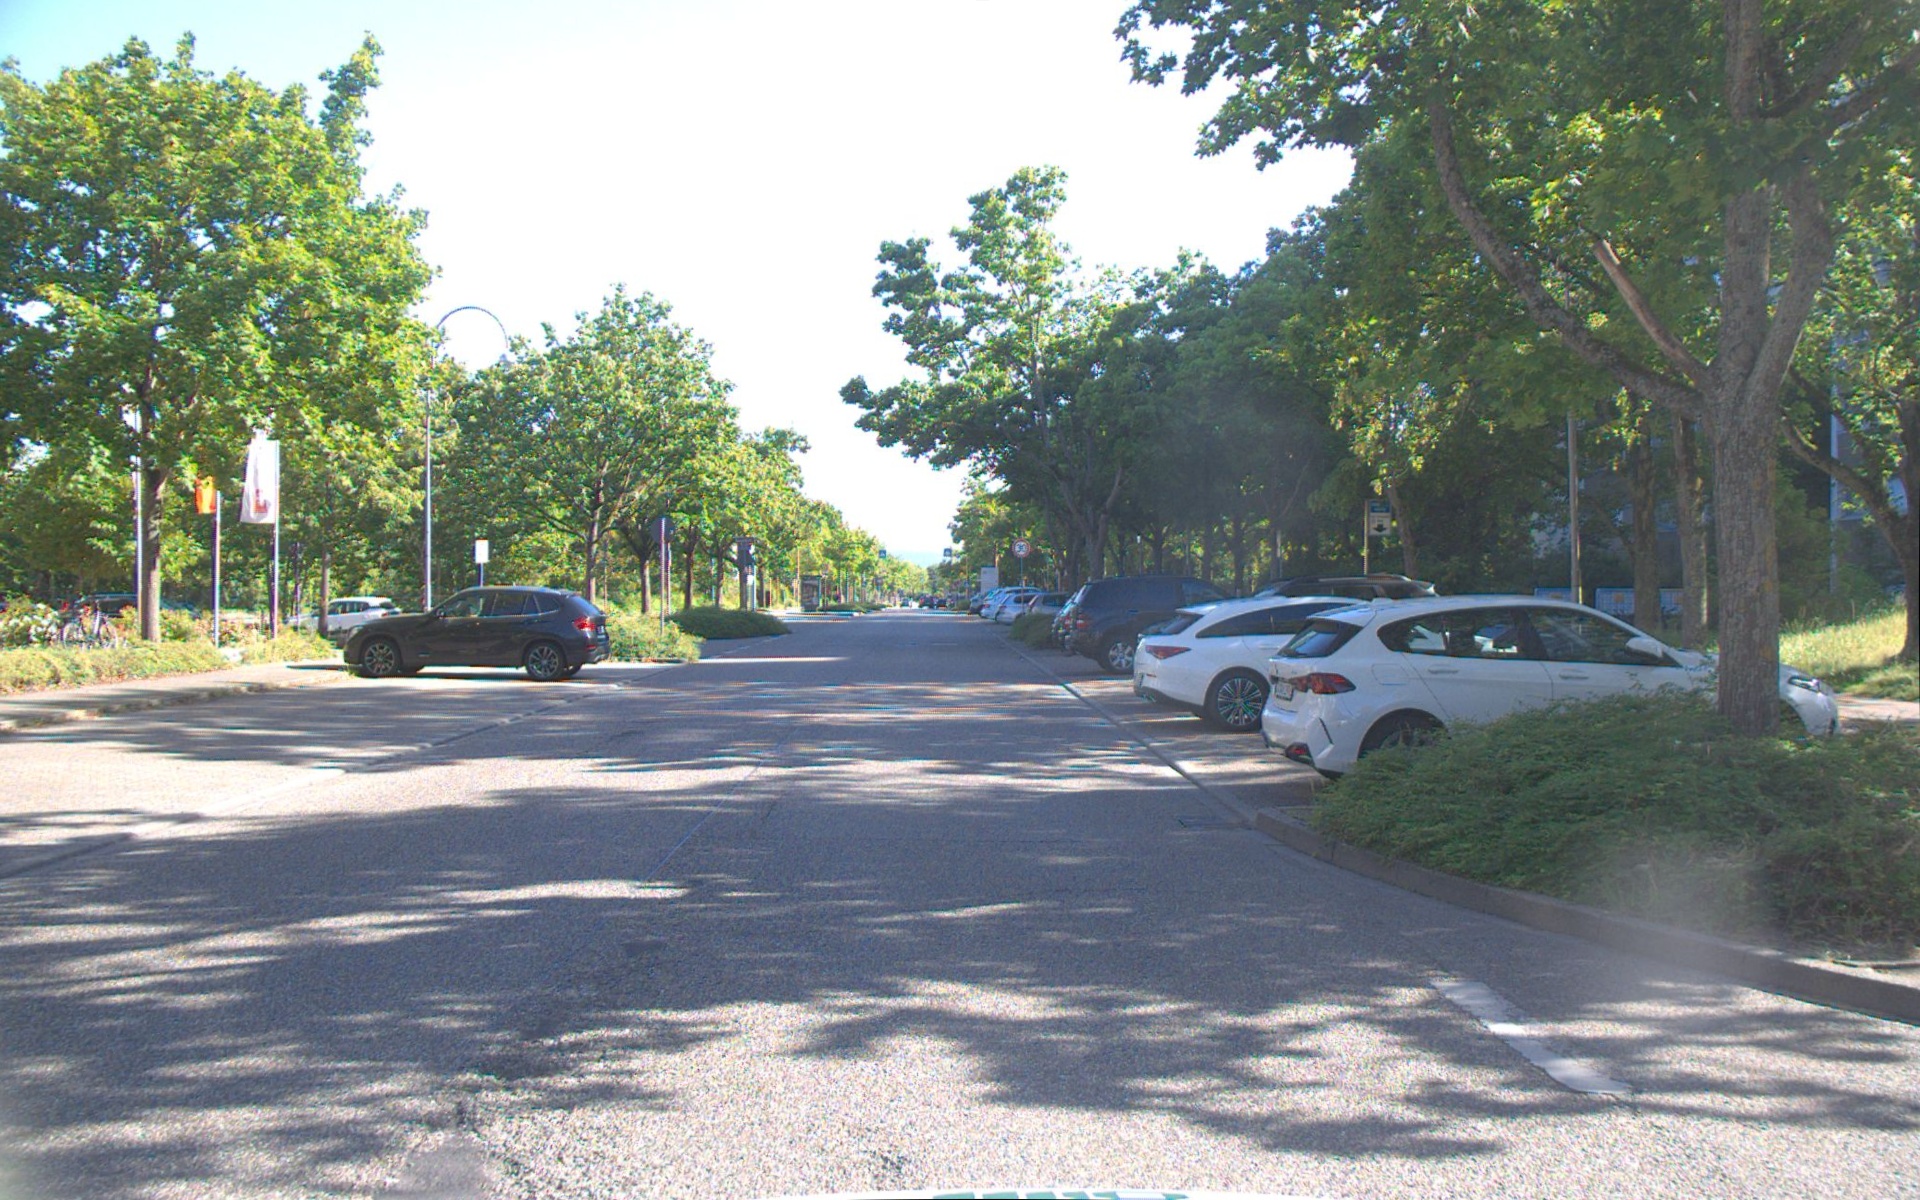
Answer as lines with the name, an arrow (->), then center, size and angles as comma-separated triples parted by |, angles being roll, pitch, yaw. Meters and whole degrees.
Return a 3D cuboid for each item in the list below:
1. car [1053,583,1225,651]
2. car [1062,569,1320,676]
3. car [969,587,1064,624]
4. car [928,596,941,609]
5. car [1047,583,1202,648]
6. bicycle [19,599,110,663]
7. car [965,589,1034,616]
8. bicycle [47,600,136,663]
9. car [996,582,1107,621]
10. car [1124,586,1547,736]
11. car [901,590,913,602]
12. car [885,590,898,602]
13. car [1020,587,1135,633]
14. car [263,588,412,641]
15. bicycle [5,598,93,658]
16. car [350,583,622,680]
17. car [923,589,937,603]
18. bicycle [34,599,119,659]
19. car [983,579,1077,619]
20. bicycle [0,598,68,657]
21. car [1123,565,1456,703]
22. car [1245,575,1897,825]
car -> 4.304, 0.393, 40.158 | 3.906, 1.411, 1.822 | -3, 0, -1
car -> 4.248, 0.396, 30.971 | 4.494, 1.810, 2.000 | -2, 0, -1
car -> 2.602, 0.265, 77.260 | 4.256, 1.515, 1.737 | -2, 0, -3
car -> -3.926, 0.355, 254.411 | 1.953, 2.049, 3.999 | 1, 0, -1
car -> 4.244, 0.390, 42.939 | 3.734, 1.525, 1.700 | -2, 0, -4
bicycle -> -15.787, 0.527, 29.213 | 0.428, 1.066, 2.193 | 1, 0, -1
car -> 2.400, 0.172, 101.624 | 4.080, 1.453, 1.999 | -3, 0, -1
bicycle -> -15.314, 0.532, 29.231 | 0.428, 1.066, 2.193 | 1, 0, -1
car -> 3.512, 0.055, 63.477 | 4.185, 1.453, 1.828 | 0, 0, 3
car -> 4.180, 0.665, 18.833 | 4.354, 1.572, 1.816 | 1, 0, -4
car -> -8.297, -0.562, 257.278 | 1.791, 1.806, 3.739 | 1, 0, -1
car -> -10.626, -0.658, 256.701 | 1.953, 1.833, 3.999 | 1, 0, -1
car -> 4.134, 0.355, 58.586 | 3.906, 1.476, 1.717 | -2, 0, -1
car -> -19.384, 0.441, 51.578 | 3.993, 1.476, 1.625 | -2, 0, 0
bicycle -> -16.890, 0.508, 30.715 | 0.428, 1.066, 2.193 | 1, 0, -1
car -> -8.026, 0.516, 28.258 | 4.107, 1.546, 1.772 | 1, 0, -1
car -> -4.374, -0.562, 239.308 | 1.953, 2.049, 3.999 | 1, 0, -1
bicycle -> -16.381, 0.526, 30.717 | 0.428, 1.066, 2.193 | 1, 0, -1
car -> 3.359, -0.070, 79.977 | 4.347, 1.676, 1.815 | -3, 1, -3
bicycle -> -17.374, 0.491, 30.722 | 0.428, 1.066, 2.193 | 1, 0, -1
car -> 4.329, 0.441, 22.113 | 4.036, 1.646, 1.732 | -2, -1, -3
car -> 4.584, 0.707, 12.813 | 4.339, 1.620, 1.835 | -2, 0, -4
